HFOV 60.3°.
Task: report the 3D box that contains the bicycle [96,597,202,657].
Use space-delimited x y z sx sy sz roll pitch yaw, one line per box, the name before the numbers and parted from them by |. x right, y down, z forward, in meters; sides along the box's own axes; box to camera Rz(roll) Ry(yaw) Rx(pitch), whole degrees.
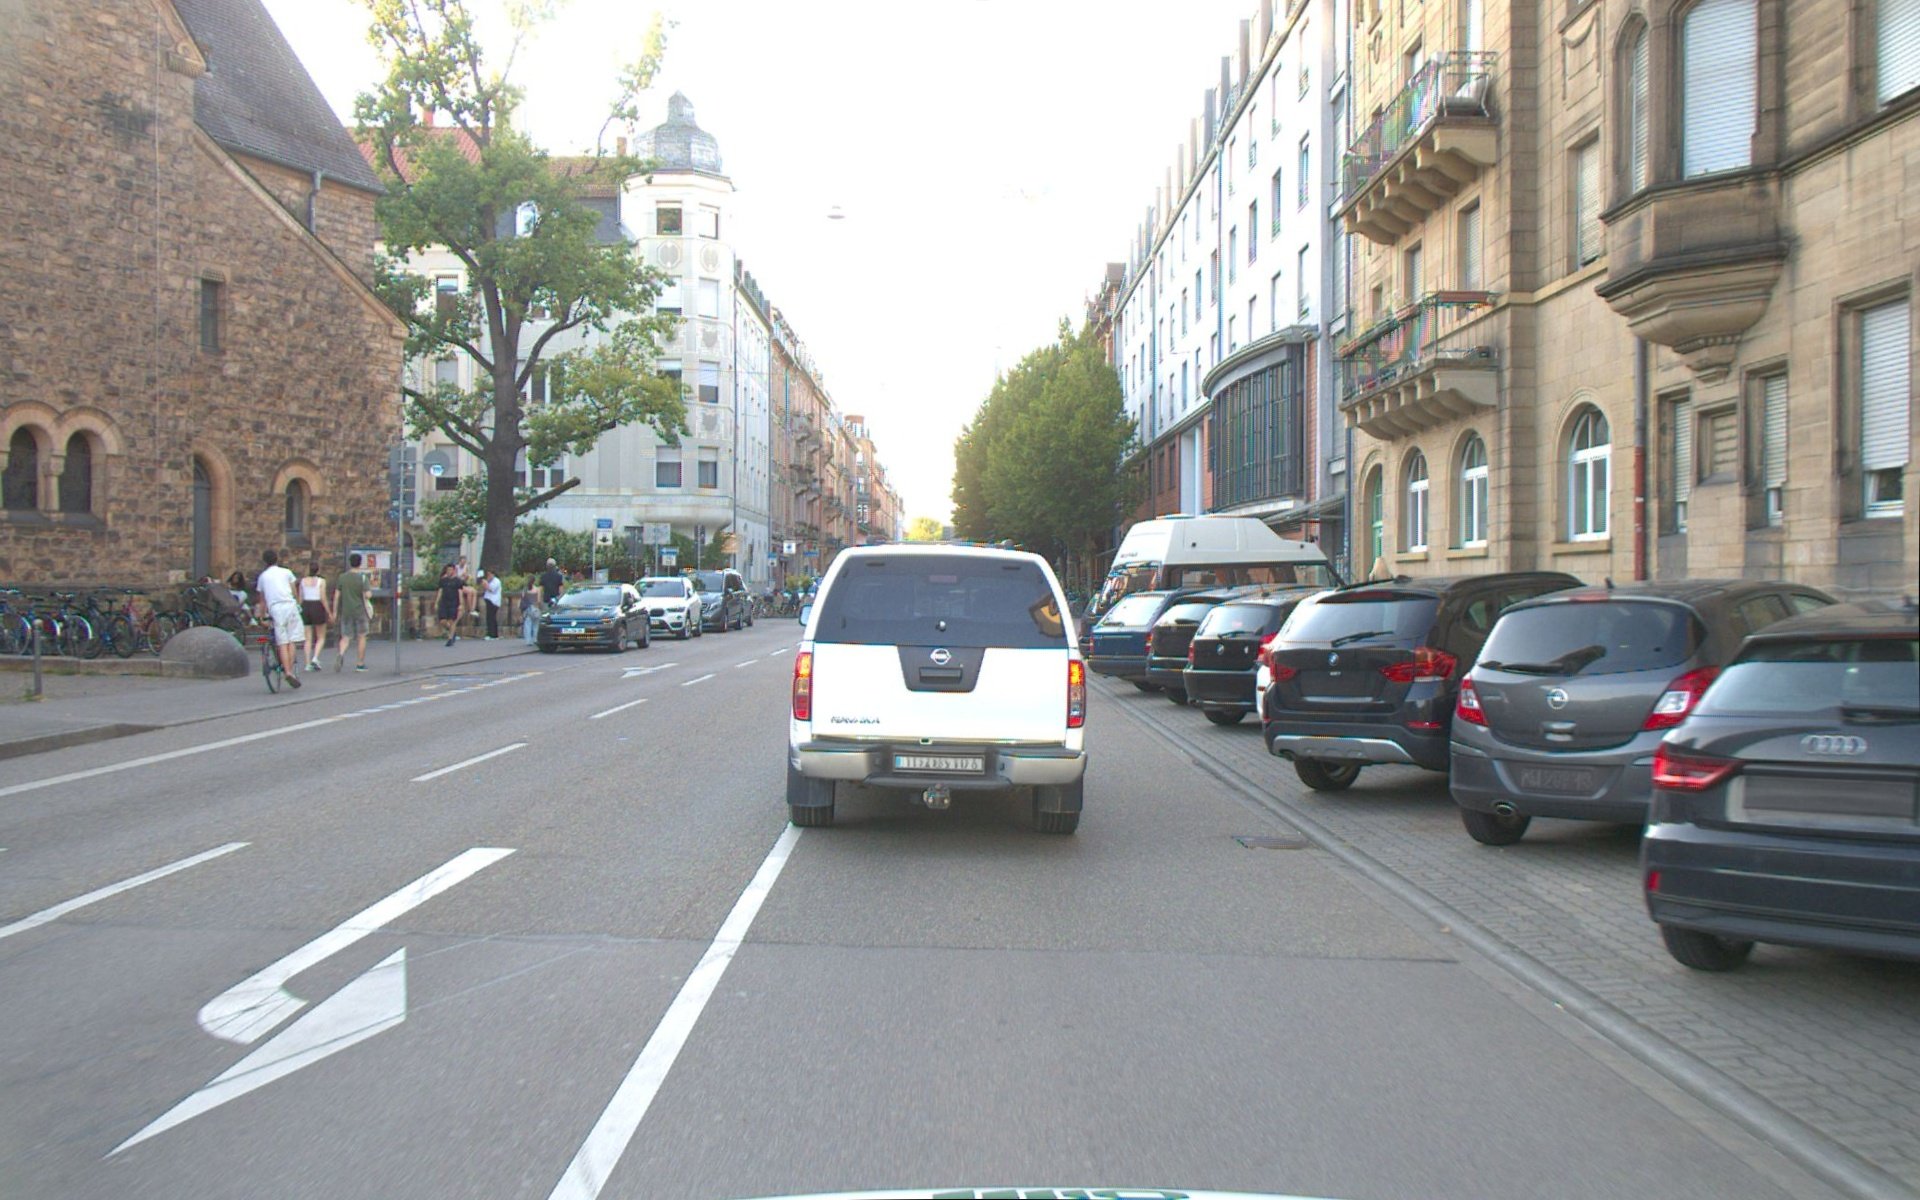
bicycle | -13.991 0.461 28.521 1.838 1.006 0.370 0 0 14

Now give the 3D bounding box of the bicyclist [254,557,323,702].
bicyclist | -9.074 0.388 22.390 0.694 1.913 0.939 1 0 -14

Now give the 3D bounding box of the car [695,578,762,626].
car | -7.876 0.042 56.596 1.606 1.583 4.005 0 0 2

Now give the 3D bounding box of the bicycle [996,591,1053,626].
bicycle | 2.124 0.277 54.274 1.820 1.056 0.402 -2 0 -2

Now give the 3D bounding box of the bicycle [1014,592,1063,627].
bicycle | 2.513 0.297 53.199 1.508 1.056 0.472 -2 0 -2

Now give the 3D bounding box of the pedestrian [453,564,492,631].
pedestrian | -11.544 -0.057 39.175 0.637 1.572 0.585 1 0 23

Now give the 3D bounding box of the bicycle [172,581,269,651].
bicycle | -13.493 0.281 30.183 1.691 1.270 0.437 0 0 14

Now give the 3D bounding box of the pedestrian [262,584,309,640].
pedestrian | -12.980 0.222 31.828 0.505 1.074 0.700 0 0 16

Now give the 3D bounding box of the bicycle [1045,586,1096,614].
bicycle | 5.434 -0.008 81.346 2.481 1.403 0.599 0 0 2

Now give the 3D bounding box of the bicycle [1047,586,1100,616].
bicycle | 5.312 0.061 77.677 2.481 1.403 0.599 0 0 2

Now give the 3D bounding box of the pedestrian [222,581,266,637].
pedestrian | -13.713 0.169 31.675 0.487 1.066 0.608 0 0 20

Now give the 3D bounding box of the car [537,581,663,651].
car | -7.833 0.313 36.335 1.746 1.460 4.316 0 0 1

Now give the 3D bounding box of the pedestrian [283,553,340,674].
pedestrian | -10.306 0.211 26.303 0.561 1.889 0.988 0 0 -4

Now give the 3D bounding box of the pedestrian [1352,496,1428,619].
pedestrian | 7.567 -0.751 29.150 0.597 2.041 0.858 16 2 2

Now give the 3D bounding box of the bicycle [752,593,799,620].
bicycle | -8.082 0.278 72.455 2.068 1.114 0.501 1 1 25

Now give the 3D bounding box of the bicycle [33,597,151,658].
bicycle | -14.498 0.451 27.610 1.942 1.006 0.466 0 0 15

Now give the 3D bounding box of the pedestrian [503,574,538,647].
pedestrian | -9.772 0.227 36.795 0.570 1.579 0.839 1 0 -4

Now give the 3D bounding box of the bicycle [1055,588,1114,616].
bicycle | 5.316 0.089 70.712 2.481 1.187 0.562 0 0 2

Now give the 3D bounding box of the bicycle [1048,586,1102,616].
bicycle | 5.308 0.037 76.314 2.481 1.403 0.599 0 0 2

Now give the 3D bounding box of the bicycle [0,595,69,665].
bicycle | -15.063 0.440 26.004 1.959 1.006 0.586 3 1 15

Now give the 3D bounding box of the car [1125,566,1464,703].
car | 4.319 0.422 21.263 4.062 1.573 1.778 -1 -2 -29

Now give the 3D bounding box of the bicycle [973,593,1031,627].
bicycle | 1.356 0.324 53.721 1.820 1.056 0.472 -2 0 -2

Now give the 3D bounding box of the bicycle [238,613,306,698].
bicycle | -9.281 0.725 22.354 0.542 1.030 2.179 1 0 -15

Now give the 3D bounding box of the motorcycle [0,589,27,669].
motorcycle | -15.133 0.384 24.328 2.364 1.145 0.822 2 1 3

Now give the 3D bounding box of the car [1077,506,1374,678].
car | 4.348 -0.120 26.917 4.660 2.591 1.899 0 0 -30

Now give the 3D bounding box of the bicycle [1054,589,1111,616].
bicycle | 5.377 0.107 72.596 2.481 1.187 0.562 0 0 2

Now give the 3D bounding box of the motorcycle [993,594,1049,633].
motorcycle | 1.868 0.396 50.714 1.614 1.121 0.646 -2 1 -9

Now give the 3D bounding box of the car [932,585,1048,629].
car | 1.109 0.240 60.504 3.944 1.533 1.753 0 0 -30

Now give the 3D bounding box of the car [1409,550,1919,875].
car | 4.592 0.544 10.105 3.883 1.571 1.691 -2 -1 -42

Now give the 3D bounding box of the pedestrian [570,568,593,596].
pedestrian | -13.718 -0.637 59.944 0.692 0.997 0.836 0 0 -2

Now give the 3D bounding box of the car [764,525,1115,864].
car | -0.144 0.501 11.501 1.894 1.826 4.621 2 1 -1

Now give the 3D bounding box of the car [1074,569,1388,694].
car | 3.967 0.407 23.987 4.341 1.512 1.824 -3 1 -31

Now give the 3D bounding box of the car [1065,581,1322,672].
car | 4.169 0.432 29.439 4.294 1.529 1.895 0 0 -29

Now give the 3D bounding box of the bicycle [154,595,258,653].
bicycle | -13.558 0.425 29.719 1.838 1.006 0.442 0 0 15

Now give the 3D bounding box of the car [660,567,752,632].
car | -7.832 -0.039 51.465 1.952 1.899 5.290 0 0 1

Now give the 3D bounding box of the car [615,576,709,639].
car | -7.930 0.172 44.343 1.833 1.619 4.467 0 0 -2

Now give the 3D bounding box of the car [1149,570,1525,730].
car | 4.218 0.494 18.326 3.988 1.456 1.845 -3 0 -35

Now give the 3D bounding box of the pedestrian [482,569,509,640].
pedestrian | -10.895 0.113 38.784 0.411 1.650 0.541 0 0 -40

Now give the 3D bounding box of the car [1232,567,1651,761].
car | 4.646 0.527 15.758 4.013 1.524 1.732 -3 0 -36

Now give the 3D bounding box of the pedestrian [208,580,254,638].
pedestrian | -13.646 0.161 30.949 0.729 1.066 0.515 0 0 -31

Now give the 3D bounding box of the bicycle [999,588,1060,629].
bicycle | 2.171 0.262 51.977 1.821 1.166 0.659 -3 0 -1

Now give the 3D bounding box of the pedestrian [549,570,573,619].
pedestrian | -14.452 -0.212 59.914 0.692 1.751 0.836 0 0 -2

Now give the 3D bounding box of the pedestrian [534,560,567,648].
pedestrian | -9.125 0.074 36.852 0.570 1.938 0.802 0 0 -4

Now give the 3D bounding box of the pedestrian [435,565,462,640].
pedestrian | -11.840 0.053 38.304 0.411 1.704 0.541 0 0 -40

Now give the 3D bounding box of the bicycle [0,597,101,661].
bicycle | -14.821 0.462 26.630 1.959 1.006 0.466 0 0 15

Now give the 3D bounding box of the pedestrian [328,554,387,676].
pedestrian | -9.619 0.231 26.430 0.634 1.912 0.890 0 0 -4

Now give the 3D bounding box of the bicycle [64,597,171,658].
bicycle | -14.304 0.460 28.064 1.838 1.006 0.370 0 0 15

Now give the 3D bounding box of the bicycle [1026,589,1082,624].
bicycle | 3.131 0.208 55.170 1.820 1.084 0.524 -2 0 -2

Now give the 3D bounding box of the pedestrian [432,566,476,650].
pedestrian | -10.713 0.169 35.043 0.699 1.755 0.692 0 0 0

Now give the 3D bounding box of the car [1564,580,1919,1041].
car | 4.394 0.650 6.865 3.881 1.471 1.847 -2 -1 -41

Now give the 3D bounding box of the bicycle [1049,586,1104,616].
bicycle | 5.337 0.040 75.600 2.481 1.403 0.599 0 0 2

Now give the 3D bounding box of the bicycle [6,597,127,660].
bicycle | -14.639 0.460 27.109 1.959 1.006 0.466 0 0 15

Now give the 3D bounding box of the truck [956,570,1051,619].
truck | 2.888 -0.369 110.051 6.190 3.029 2.264 1 -3 1

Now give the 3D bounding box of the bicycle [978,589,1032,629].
bicycle | 1.420 0.285 52.638 1.673 1.196 0.472 -2 0 -2

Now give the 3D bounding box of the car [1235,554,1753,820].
car | 4.151 0.538 12.578 4.058 1.635 1.791 -3 0 -39
